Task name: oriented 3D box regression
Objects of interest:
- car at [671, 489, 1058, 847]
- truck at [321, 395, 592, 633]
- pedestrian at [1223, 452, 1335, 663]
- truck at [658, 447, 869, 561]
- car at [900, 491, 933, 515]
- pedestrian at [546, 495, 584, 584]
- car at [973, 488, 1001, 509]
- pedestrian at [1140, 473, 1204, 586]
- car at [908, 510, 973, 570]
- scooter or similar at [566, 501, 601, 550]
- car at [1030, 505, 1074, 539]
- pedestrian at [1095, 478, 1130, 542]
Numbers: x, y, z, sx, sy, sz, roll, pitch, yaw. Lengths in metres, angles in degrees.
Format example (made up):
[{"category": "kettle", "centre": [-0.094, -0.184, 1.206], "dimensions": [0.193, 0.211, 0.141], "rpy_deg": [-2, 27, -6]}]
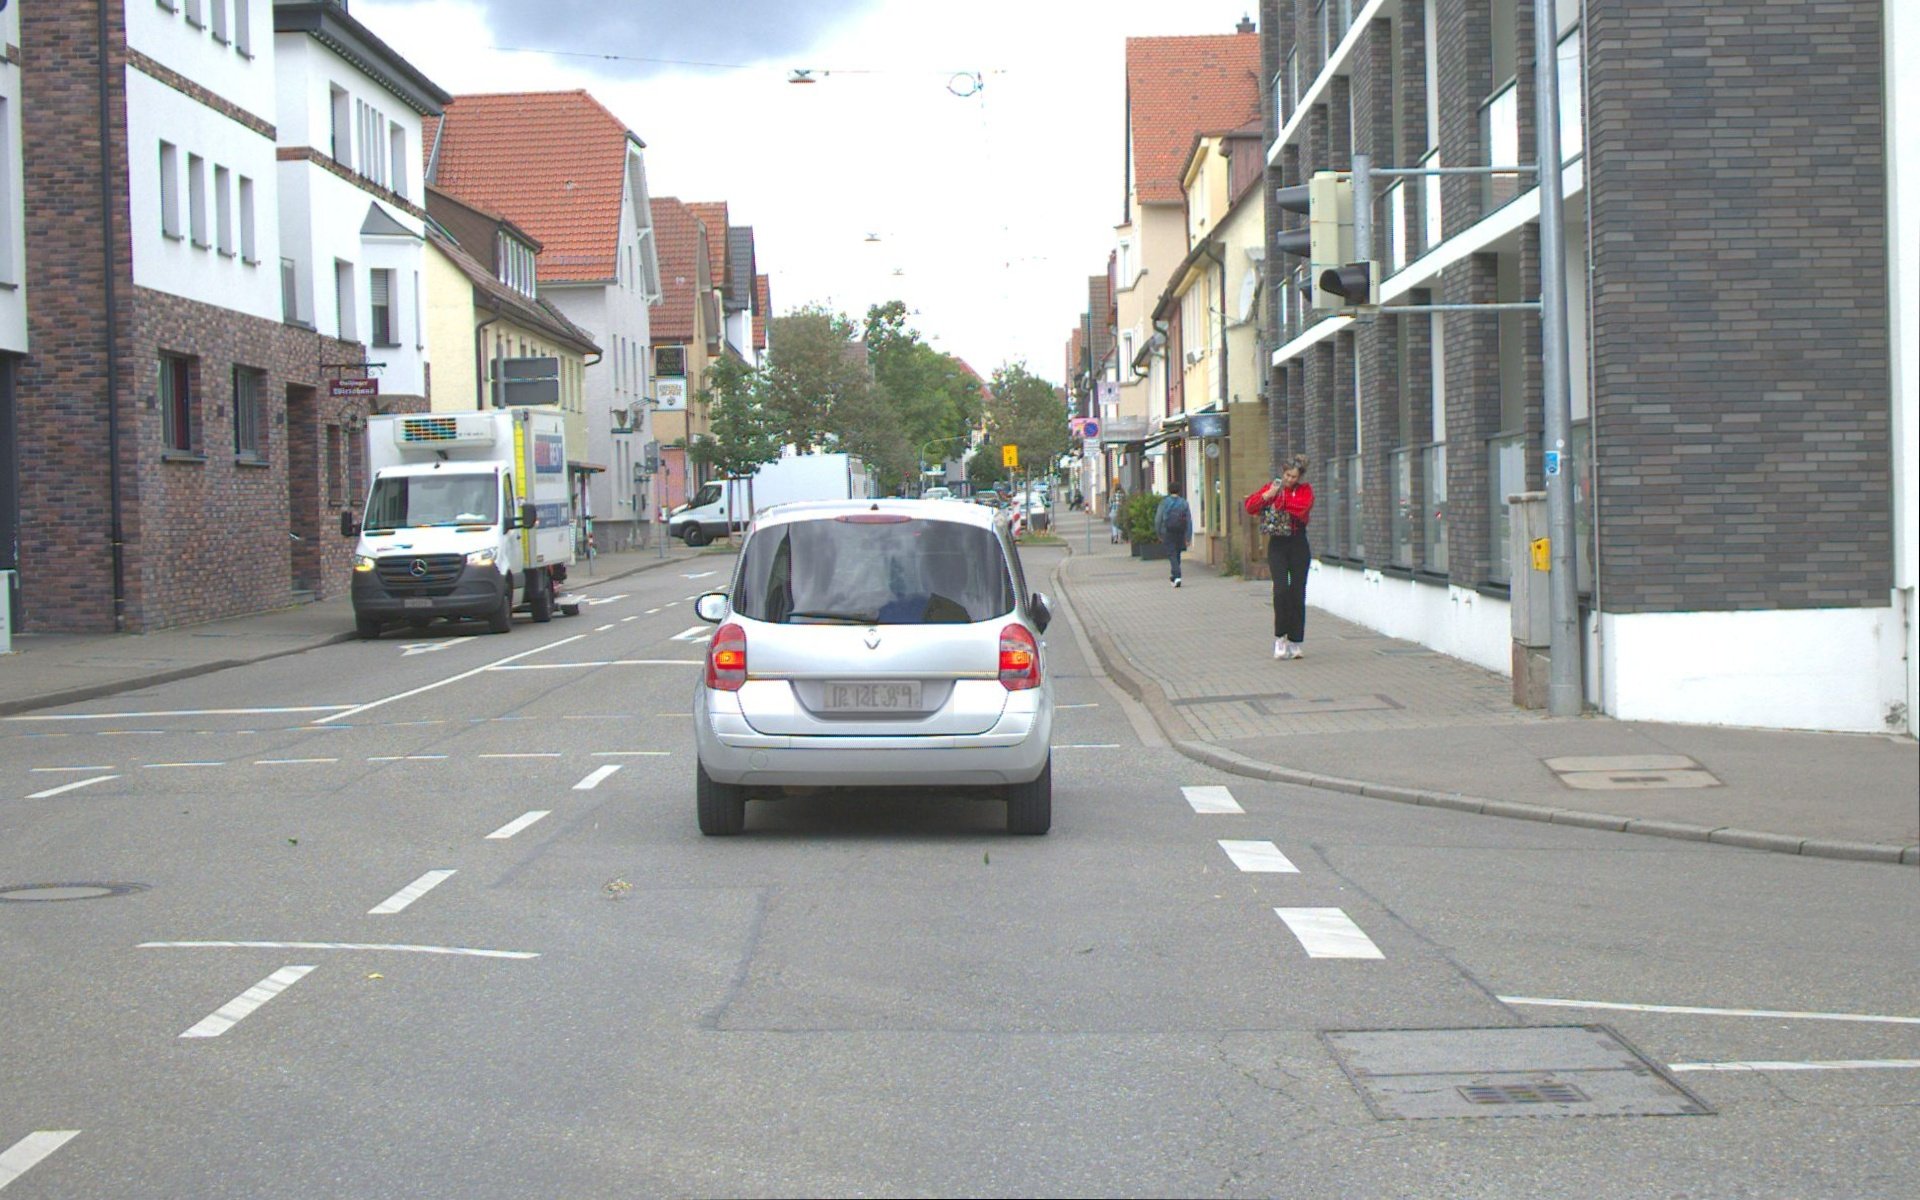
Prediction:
[{"category": "car", "centre": [-0.424, 0.247, 17.277], "dimensions": [1.706, 1.573, 4.000], "rpy_deg": [1, 2, 0]}, {"category": "truck", "centre": [-6.835, -1.208, 47.830], "dimensions": [2.435, 2.943, 8.365], "rpy_deg": [-2, 2, 0]}, {"category": "pedestrian", "centre": [2.791, -0.381, 30.169], "dimensions": [0.807, 1.780, 0.861], "rpy_deg": [-4, 2, 1]}, {"category": "truck", "centre": [-6.838, -3.340, 119.835], "dimensions": [6.829, 3.844, 2.603], "rpy_deg": [-1, 1, 13]}, {"category": "car", "centre": [-2.632, -5.870, 207.332], "dimensions": [1.813, 1.349, 3.857], "rpy_deg": [-2, 2, 1]}, {"category": "pedestrian", "centre": [-7.776, -1.198, 67.713], "dimensions": [0.662, 1.751, 0.688], "rpy_deg": [1, 2, 1]}, {"category": "car", "centre": [1.832, -6.893, 233.418], "dimensions": [1.813, 1.349, 4.000], "rpy_deg": [-2, 2, 1]}, {"category": "pedestrian", "centre": [3.434, -1.148, 55.775], "dimensions": [0.889, 1.780, 0.785], "rpy_deg": [-4, 2, 1]}, {"category": "car", "centre": [-0.527, -1.654, 93.366], "dimensions": [1.706, 1.573, 4.000], "rpy_deg": [1, 2, 0]}, {"category": "scooter or similar", "centre": [-10.051, -1.993, 91.866], "dimensions": [0.575, 1.264, 2.548], "rpy_deg": [-2, 2, 1]}, {"category": "car", "centre": [3.905, -3.330, 146.156], "dimensions": [1.813, 1.349, 4.000], "rpy_deg": [-2, 2, 1]}, {"category": "pedestrian", "centre": [4.391, -2.605, 99.126], "dimensions": [0.889, 1.780, 0.785], "rpy_deg": [-4, 2, 1]}]
